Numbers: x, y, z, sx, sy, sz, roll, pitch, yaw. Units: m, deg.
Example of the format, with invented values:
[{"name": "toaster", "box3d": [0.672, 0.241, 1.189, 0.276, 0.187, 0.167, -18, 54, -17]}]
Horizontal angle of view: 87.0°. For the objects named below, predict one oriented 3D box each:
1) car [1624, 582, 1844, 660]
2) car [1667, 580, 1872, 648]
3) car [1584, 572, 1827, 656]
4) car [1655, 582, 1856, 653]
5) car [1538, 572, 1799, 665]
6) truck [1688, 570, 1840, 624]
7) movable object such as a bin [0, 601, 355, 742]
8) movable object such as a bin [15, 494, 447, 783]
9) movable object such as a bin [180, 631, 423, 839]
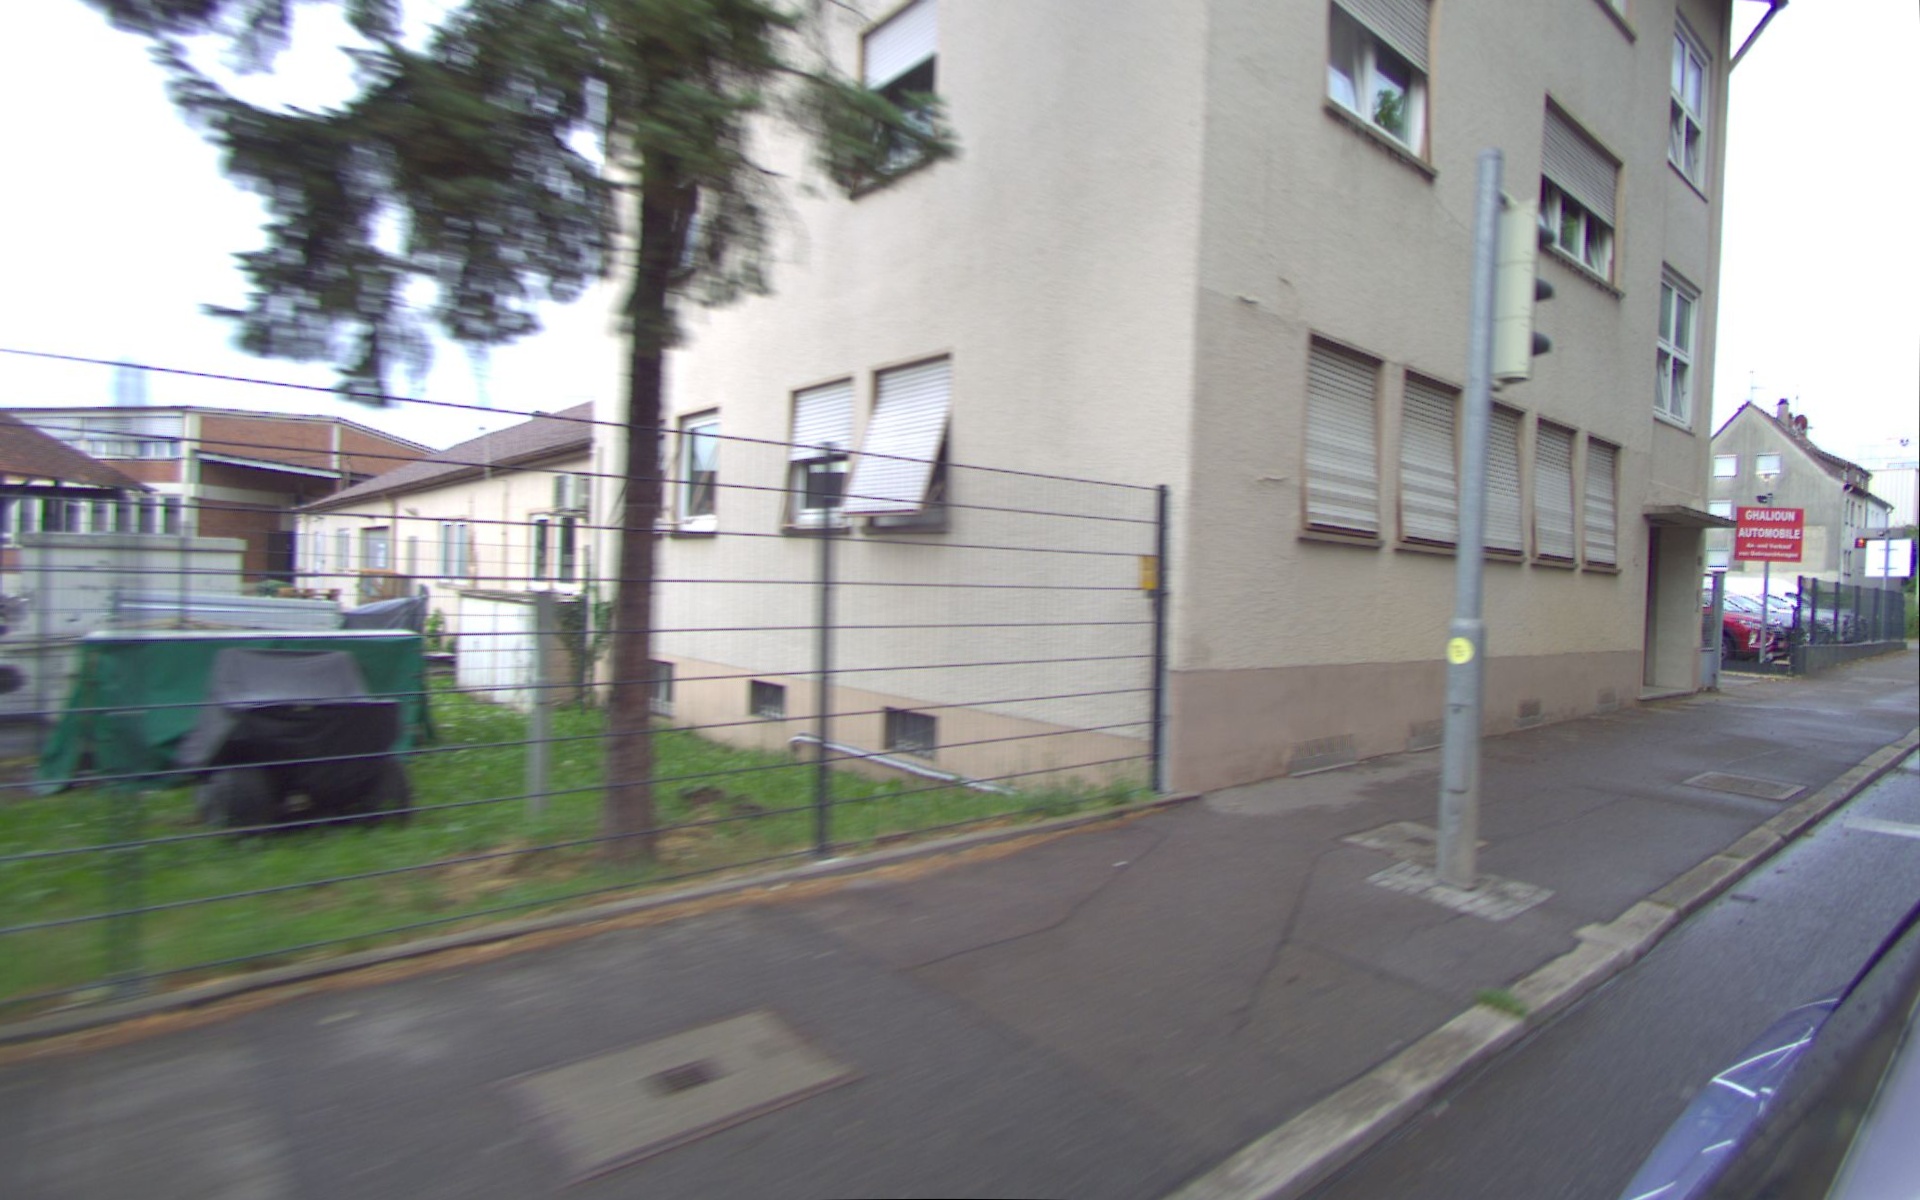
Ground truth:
[{"name": "car", "box3d": [19.238, 0.463, 25.306, 1.837, 1.758, 4.074, -1, 1, -40]}, {"name": "car", "box3d": [23.037, 0.341, 28.928, 1.965, 1.790, 4.311, -1, 1, -40]}, {"name": "car", "box3d": [17.182, 0.281, 23.489, 1.837, 1.758, 4.236, -1, 1, -40]}, {"name": "car", "box3d": [21.153, 0.412, 27.027, 1.760, 1.746, 3.956, -1, 0, -40]}, {"name": "car", "box3d": [14.979, 0.333, 21.577, 1.837, 1.758, 4.236, -1, 1, -40]}, {"name": "truck", "box3d": [41.556, -0.161, 52.455, 2.008, 2.670, 5.855, -1, 1, -40]}, {"name": "movable object such as a bin", "box3d": [-8.930, 0.709, 11.671, 3.097, 1.313, 1.935, -2, 1, -40]}, {"name": "movable object such as a bin", "box3d": [-6.762, 0.266, 9.640, 3.036, 2.271, 1.908, -1, 1, -37]}, {"name": "movable object such as a bin", "box3d": [-4.433, 0.821, 6.801, 1.196, 1.196, 1.330, 1, -3, -41]}]
